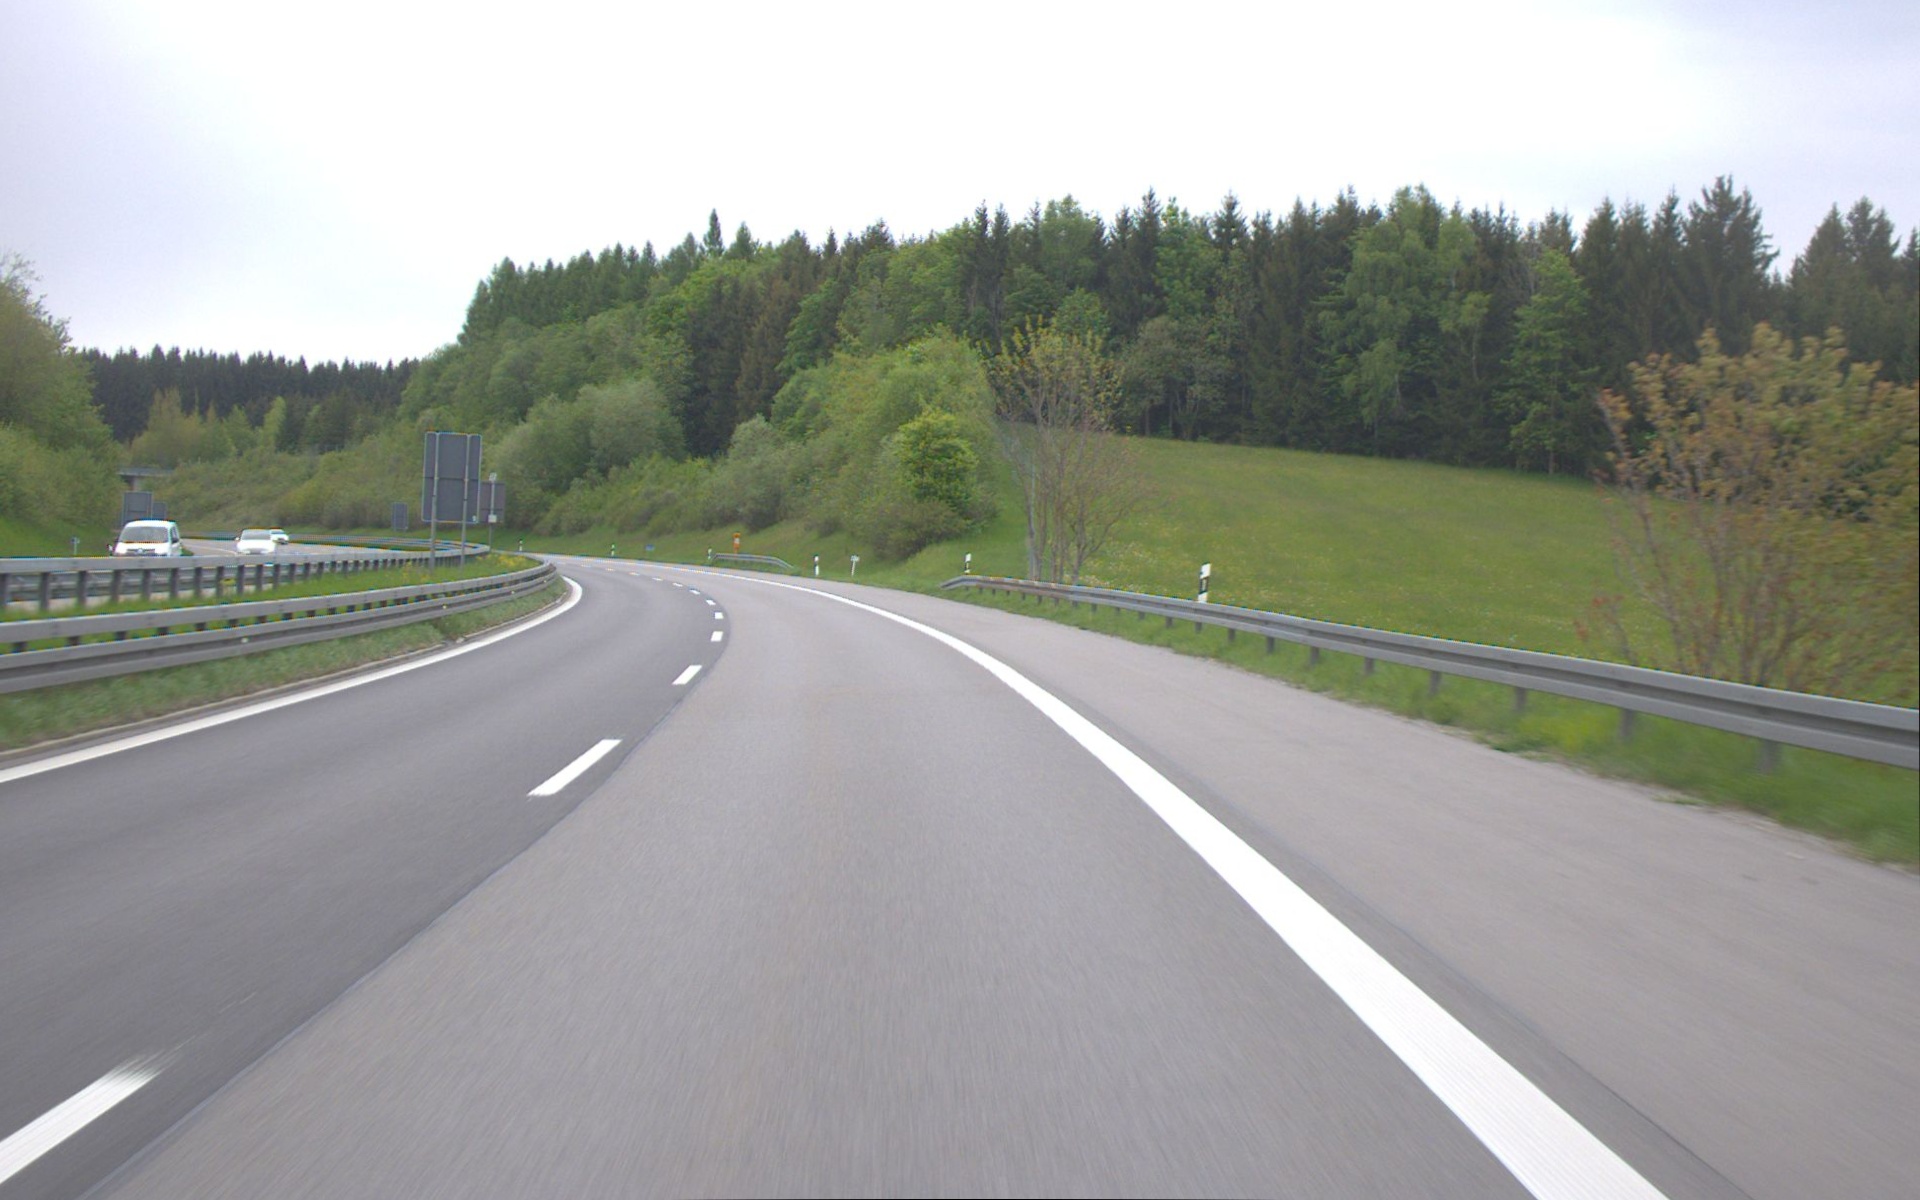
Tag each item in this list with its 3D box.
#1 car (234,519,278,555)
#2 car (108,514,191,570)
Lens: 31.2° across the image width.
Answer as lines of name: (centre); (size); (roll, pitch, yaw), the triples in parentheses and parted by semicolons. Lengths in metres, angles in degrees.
car: (-36.026, -3.241, 176.001); (2.034, 1.685, 5.057); (3, 1, -11)
car: (-26.606, -1.928, 112.948); (1.993, 1.680, 4.628); (3, 1, -6)
